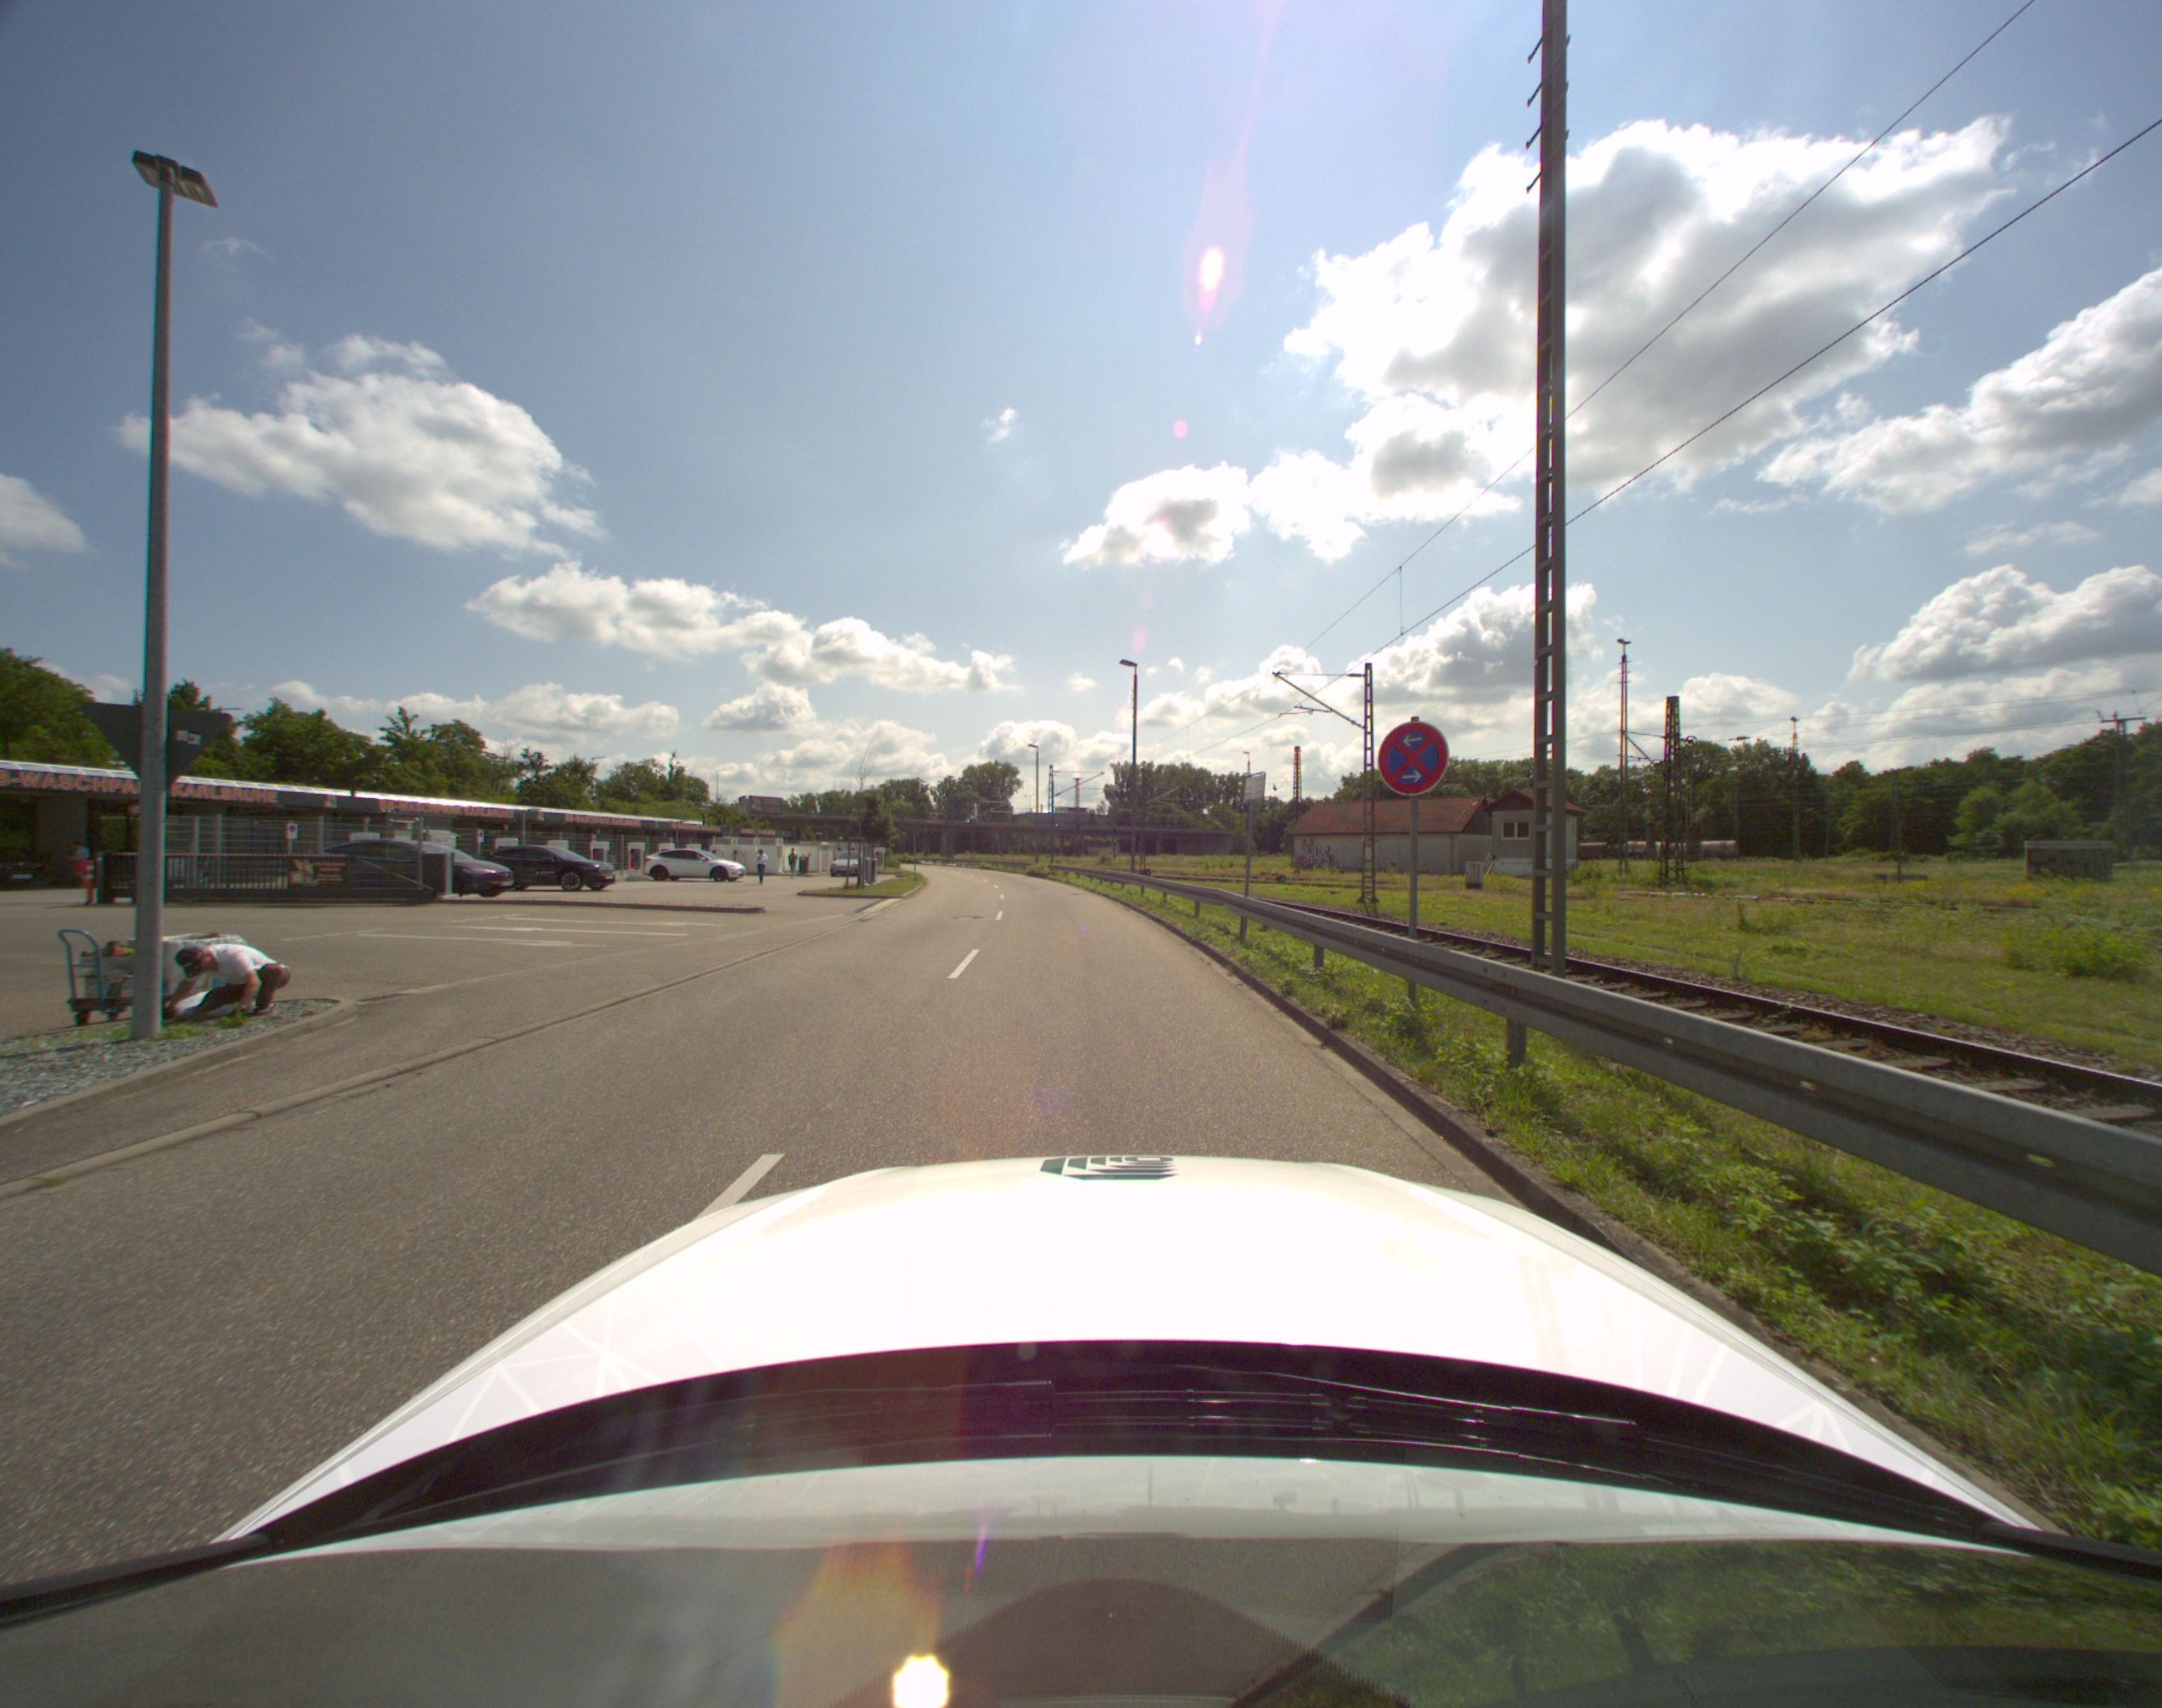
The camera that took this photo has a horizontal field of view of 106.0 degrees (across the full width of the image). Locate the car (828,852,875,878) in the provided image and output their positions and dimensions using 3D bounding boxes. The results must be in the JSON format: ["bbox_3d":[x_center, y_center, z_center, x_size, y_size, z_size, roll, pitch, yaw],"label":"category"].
[{"bbox_3d":[-15.062,0.671,53.727,1.926,1.517,4.771,1,1,-3],"label":"car"}]

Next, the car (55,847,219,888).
[{"bbox_3d":[-37.466,0.537,32.422,3.978,1.562,1.997,0,-1,-4],"label":"car"}]

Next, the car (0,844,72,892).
[{"bbox_3d":[-37.500,0.486,27.555,3.978,1.562,1.997,0,-1,-4],"label":"car"}]

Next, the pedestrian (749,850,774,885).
[{"bbox_3d":[-15.037,0.636,38.373,0.861,1.653,0.939,0,-1,-6],"label":"pedestrian"}]

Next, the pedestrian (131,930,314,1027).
[{"bbox_3d":[-8.032,1.147,7.659,0.858,0.760,0.819,0,1,5],"label":"pedestrian"}]

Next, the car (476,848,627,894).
[{"bbox_3d":[-18.798,0.603,29.074,3.979,1.519,1.997,1,-1,-5],"label":"car"}]

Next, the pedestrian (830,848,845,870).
[{"bbox_3d":[-17.128,0.356,57.263,0.749,1.565,0.718,-1,-1,38],"label":"pedestrian"}]

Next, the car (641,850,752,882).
[{"bbox_3d":[-19.163,0.614,40.758,4.545,1.524,1.996,1,-1,-6],"label":"car"}]

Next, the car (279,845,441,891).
[{"bbox_3d":[-25.565,0.488,29.126,1.910,1.482,4.298,1,-1,0],"label":"car"}]

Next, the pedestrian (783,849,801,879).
[{"bbox_3d":[-17.010,0.566,47.950,0.862,1.752,0.724,1,-1,-11],"label":"pedestrian"}]

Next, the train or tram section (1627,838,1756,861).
[{"bbox_3d":[93.631,-0.547,125.390,3.052,3.305,15.565,0,-1,-44],"label":"train or tram section"}]

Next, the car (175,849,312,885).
[{"bbox_3d":[-38.003,0.589,37.059,3.978,1.562,1.997,0,-1,-4],"label":"car"}]

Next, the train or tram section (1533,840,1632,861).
[{"bbox_3d":[83.420,-0.467,135.879,3.052,3.305,13.767,0,-1,-44],"label":"train or tram section"}]

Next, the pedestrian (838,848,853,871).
[{"bbox_3d":[-16.406,0.413,56.779,0.704,1.579,0.726,-1,-1,35],"label":"pedestrian"}]

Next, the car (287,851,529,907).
[{"bbox_3d":[-18.701,0.685,22.888,4.739,1.455,2.233,1,0,-6],"label":"car"}]
